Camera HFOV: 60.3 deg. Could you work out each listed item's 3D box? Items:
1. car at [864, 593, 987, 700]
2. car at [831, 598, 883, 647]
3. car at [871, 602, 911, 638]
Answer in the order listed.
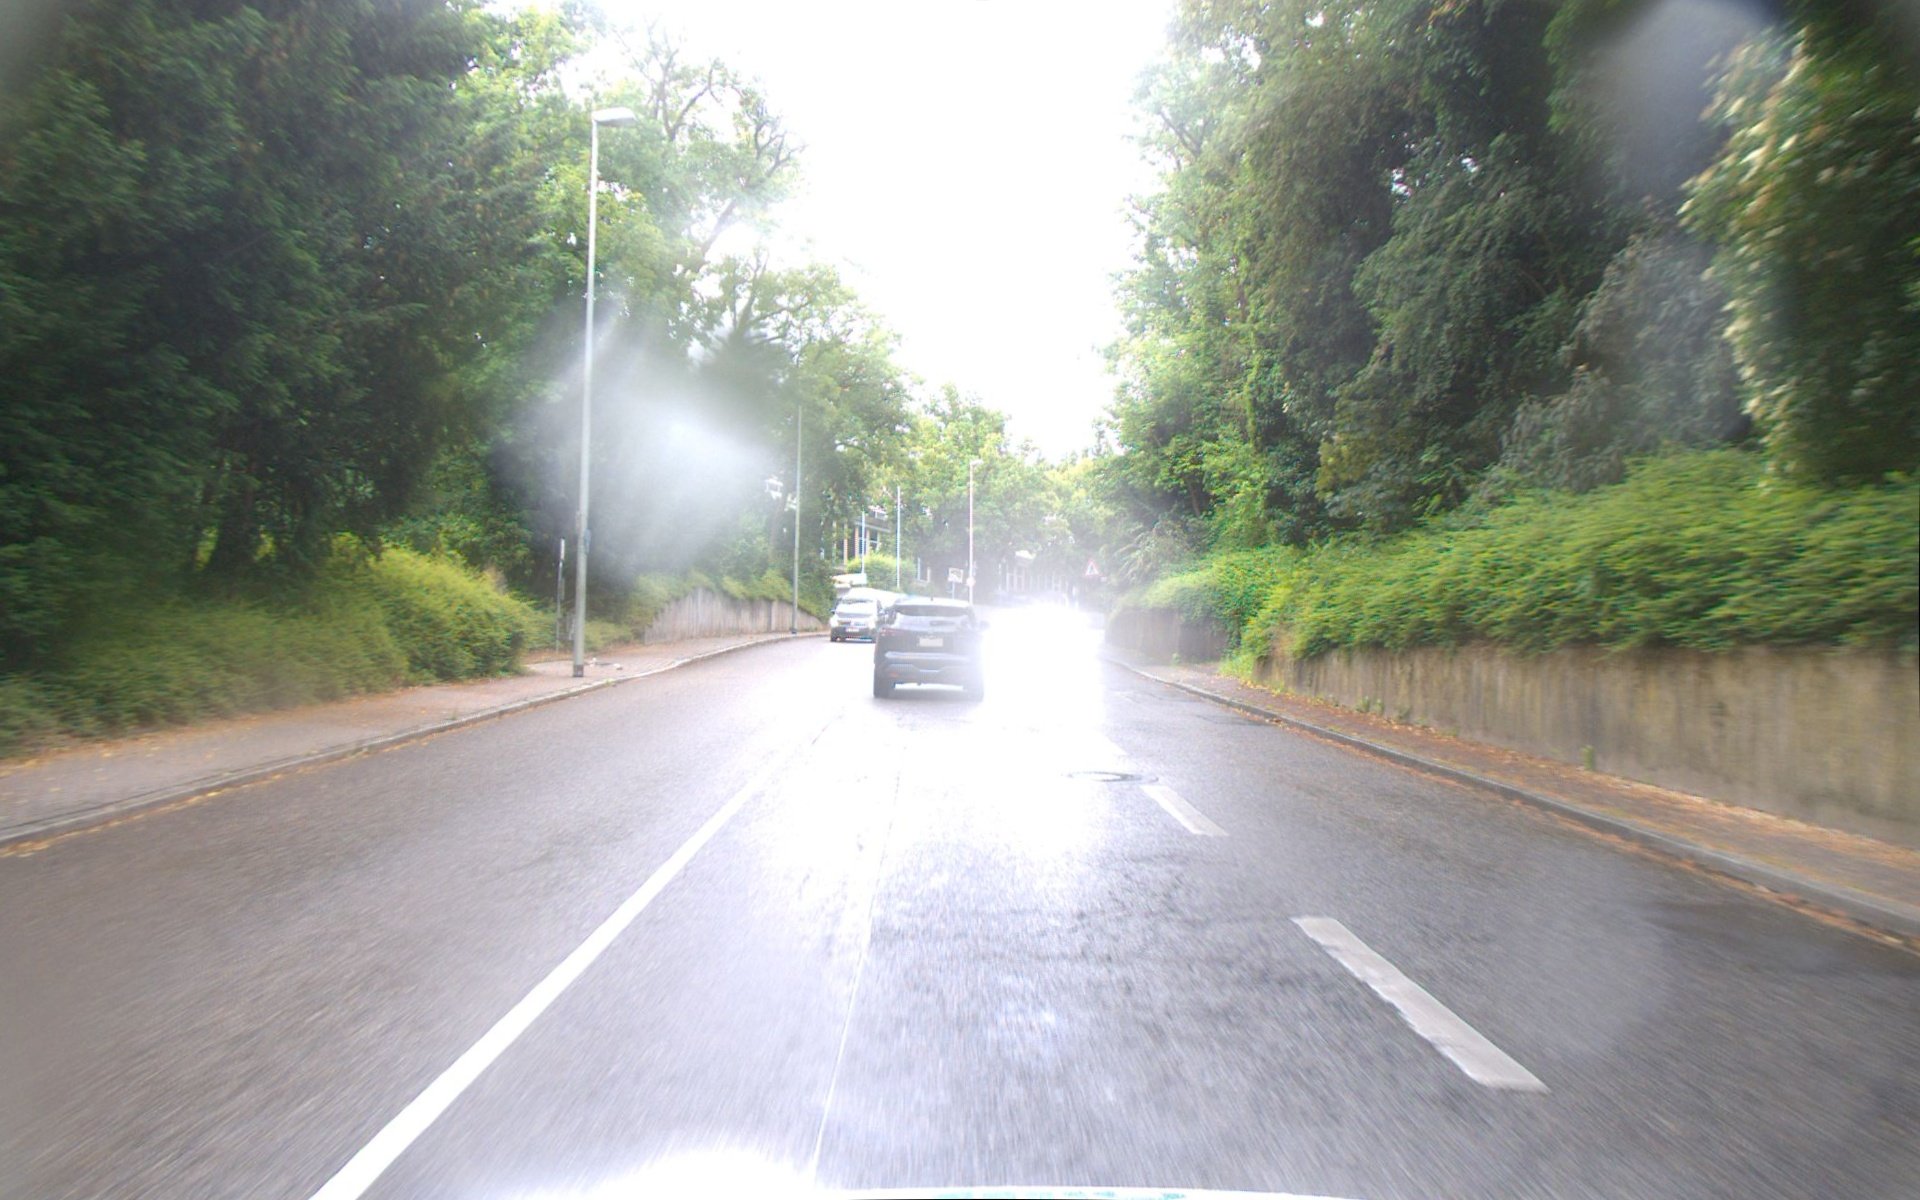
[{"bbox_3d":[-0.563,0.726,27.716,1.889,1.641,3.999,1,0,-1],"label":"car"},{"bbox_3d":[-3.809,0.806,61.501,1.794,1.741,3.998,1,0,-2],"label":"car"},{"bbox_3d":[-2.984,0.866,72.010,1.641,1.522,3.459,1,0,-1],"label":"car"}]
